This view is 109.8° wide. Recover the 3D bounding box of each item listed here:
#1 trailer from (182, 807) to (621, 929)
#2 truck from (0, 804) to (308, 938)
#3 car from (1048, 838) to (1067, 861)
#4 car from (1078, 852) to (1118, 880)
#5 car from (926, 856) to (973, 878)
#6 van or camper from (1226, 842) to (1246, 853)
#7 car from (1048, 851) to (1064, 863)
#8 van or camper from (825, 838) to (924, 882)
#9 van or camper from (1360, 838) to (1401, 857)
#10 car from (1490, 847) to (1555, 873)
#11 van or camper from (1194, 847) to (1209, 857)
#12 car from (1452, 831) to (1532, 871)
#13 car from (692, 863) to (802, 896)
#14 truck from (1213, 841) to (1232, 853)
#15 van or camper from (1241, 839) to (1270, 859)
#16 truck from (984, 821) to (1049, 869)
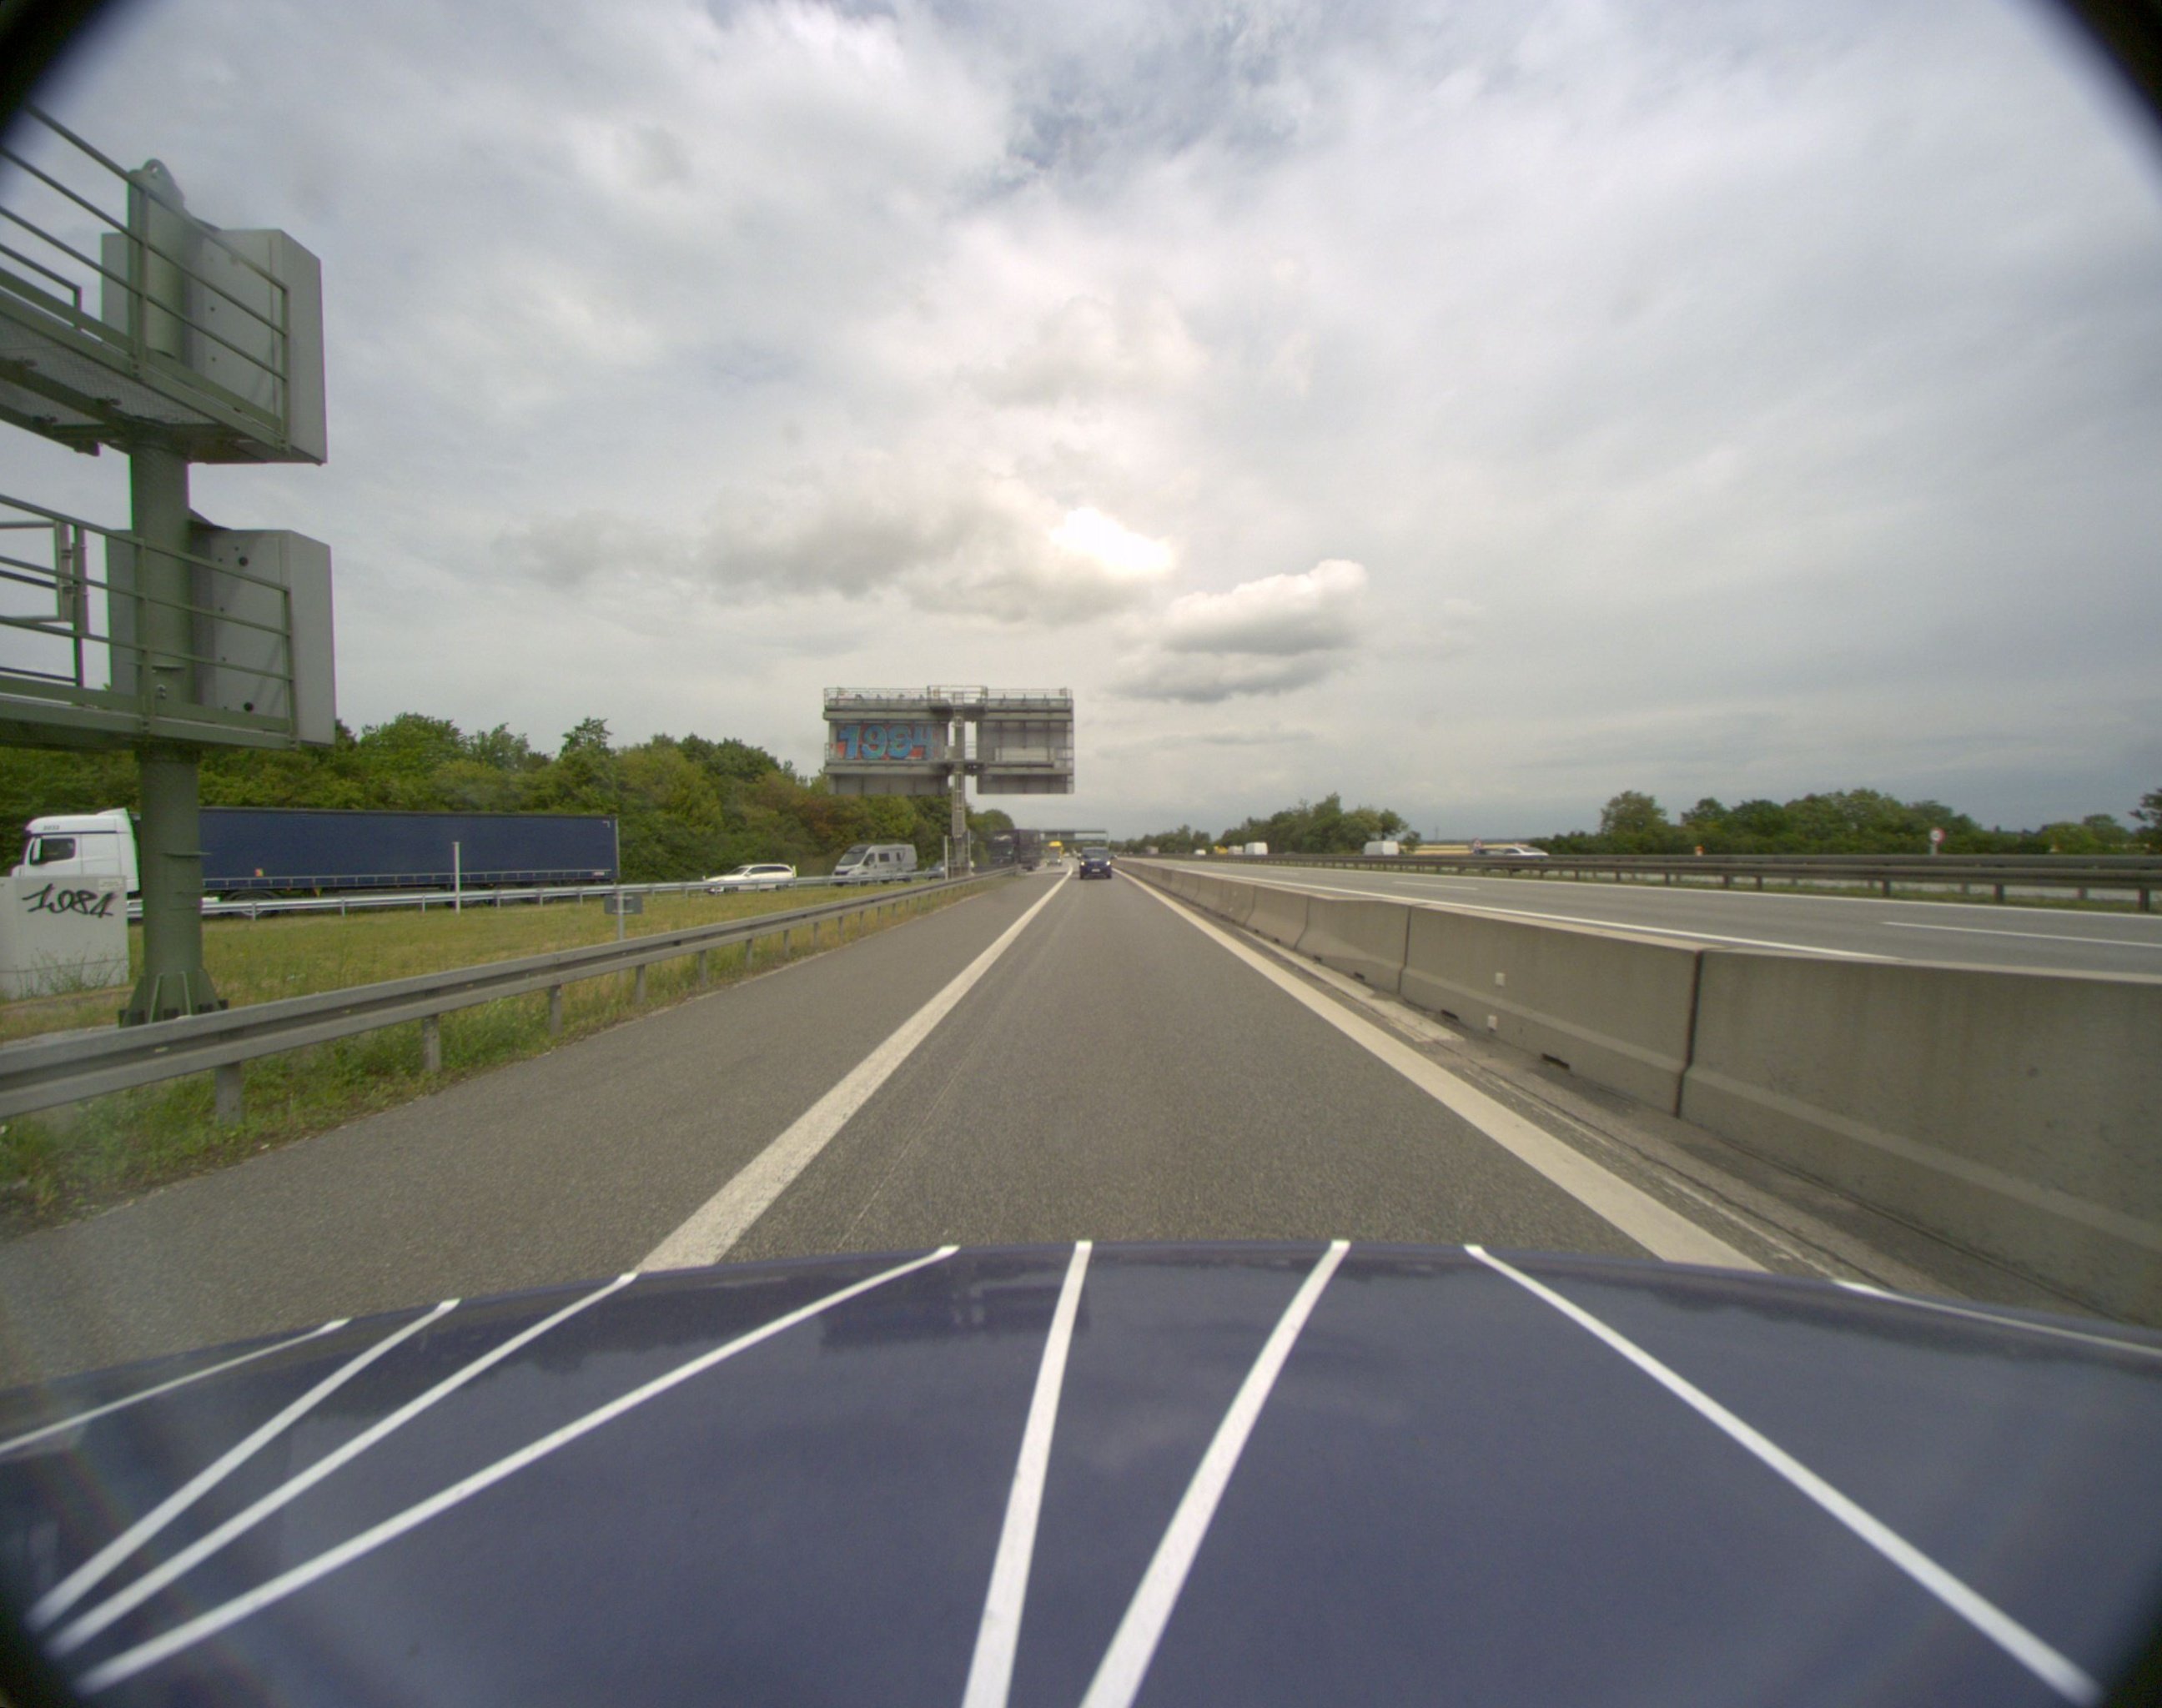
[{"bbox_3d":[-27.112,0.333,31.656,3.332,4.169,13.057,-1,1,43],"label":"trailer"},{"bbox_3d":[-31.950,0.460,26.481,3.361,4.071,6.802,-1,1,43],"label":"truck"},{"bbox_3d":[-4.785,-1.024,157.282,3.395,4.457,11.605,-2,0,1],"label":"car"},{"bbox_3d":[0.899,0.641,42.333,1.866,1.434,3.998,-2,0,-3],"label":"car"},{"bbox_3d":[-9.560,0.947,55.430,1.731,1.411,3.670,-2,1,20],"label":"car"},{"bbox_3d":[31.133,-1.337,152.420,2.241,2.002,6.275,-2,0,-4],"label":"van or camper"},{"bbox_3d":[-3.152,0.341,95.699,1.866,1.434,3.998,-2,0,-3],"label":"car"},{"bbox_3d":[-12.750,0.331,47.382,2.295,2.553,6.171,-1,1,28],"label":"van or camper"},{"bbox_3d":[34.932,-0.749,88.815,2.193,2.159,5.807,-2,0,-3],"label":"van or camper"},{"bbox_3d":[26.342,0.308,45.506,1.527,1.455,3.999,-2,1,0],"label":"car"},{"bbox_3d":[23.196,-0.464,146.618,1.999,1.818,4.346,-2,0,-1],"label":"van or camper"},{"bbox_3d":[22.201,-0.172,41.224,1.999,2.002,3.998,-2,1,-4],"label":"car"},{"bbox_3d":[-17.463,1.283,39.939,2.207,1.492,4.796,-1,1,36],"label":"car"},{"bbox_3d":[34.196,-1.762,183.848,2.913,2.758,8.781,-1,0,1],"label":"truck"},{"bbox_3d":[24.535,-0.671,107.179,2.193,2.604,6.902,-2,0,-2],"label":"van or camper"},{"bbox_3d":[-5.717,-0.829,69.575,3.022,3.931,10.348,-2,0,12],"label":"truck"}]
